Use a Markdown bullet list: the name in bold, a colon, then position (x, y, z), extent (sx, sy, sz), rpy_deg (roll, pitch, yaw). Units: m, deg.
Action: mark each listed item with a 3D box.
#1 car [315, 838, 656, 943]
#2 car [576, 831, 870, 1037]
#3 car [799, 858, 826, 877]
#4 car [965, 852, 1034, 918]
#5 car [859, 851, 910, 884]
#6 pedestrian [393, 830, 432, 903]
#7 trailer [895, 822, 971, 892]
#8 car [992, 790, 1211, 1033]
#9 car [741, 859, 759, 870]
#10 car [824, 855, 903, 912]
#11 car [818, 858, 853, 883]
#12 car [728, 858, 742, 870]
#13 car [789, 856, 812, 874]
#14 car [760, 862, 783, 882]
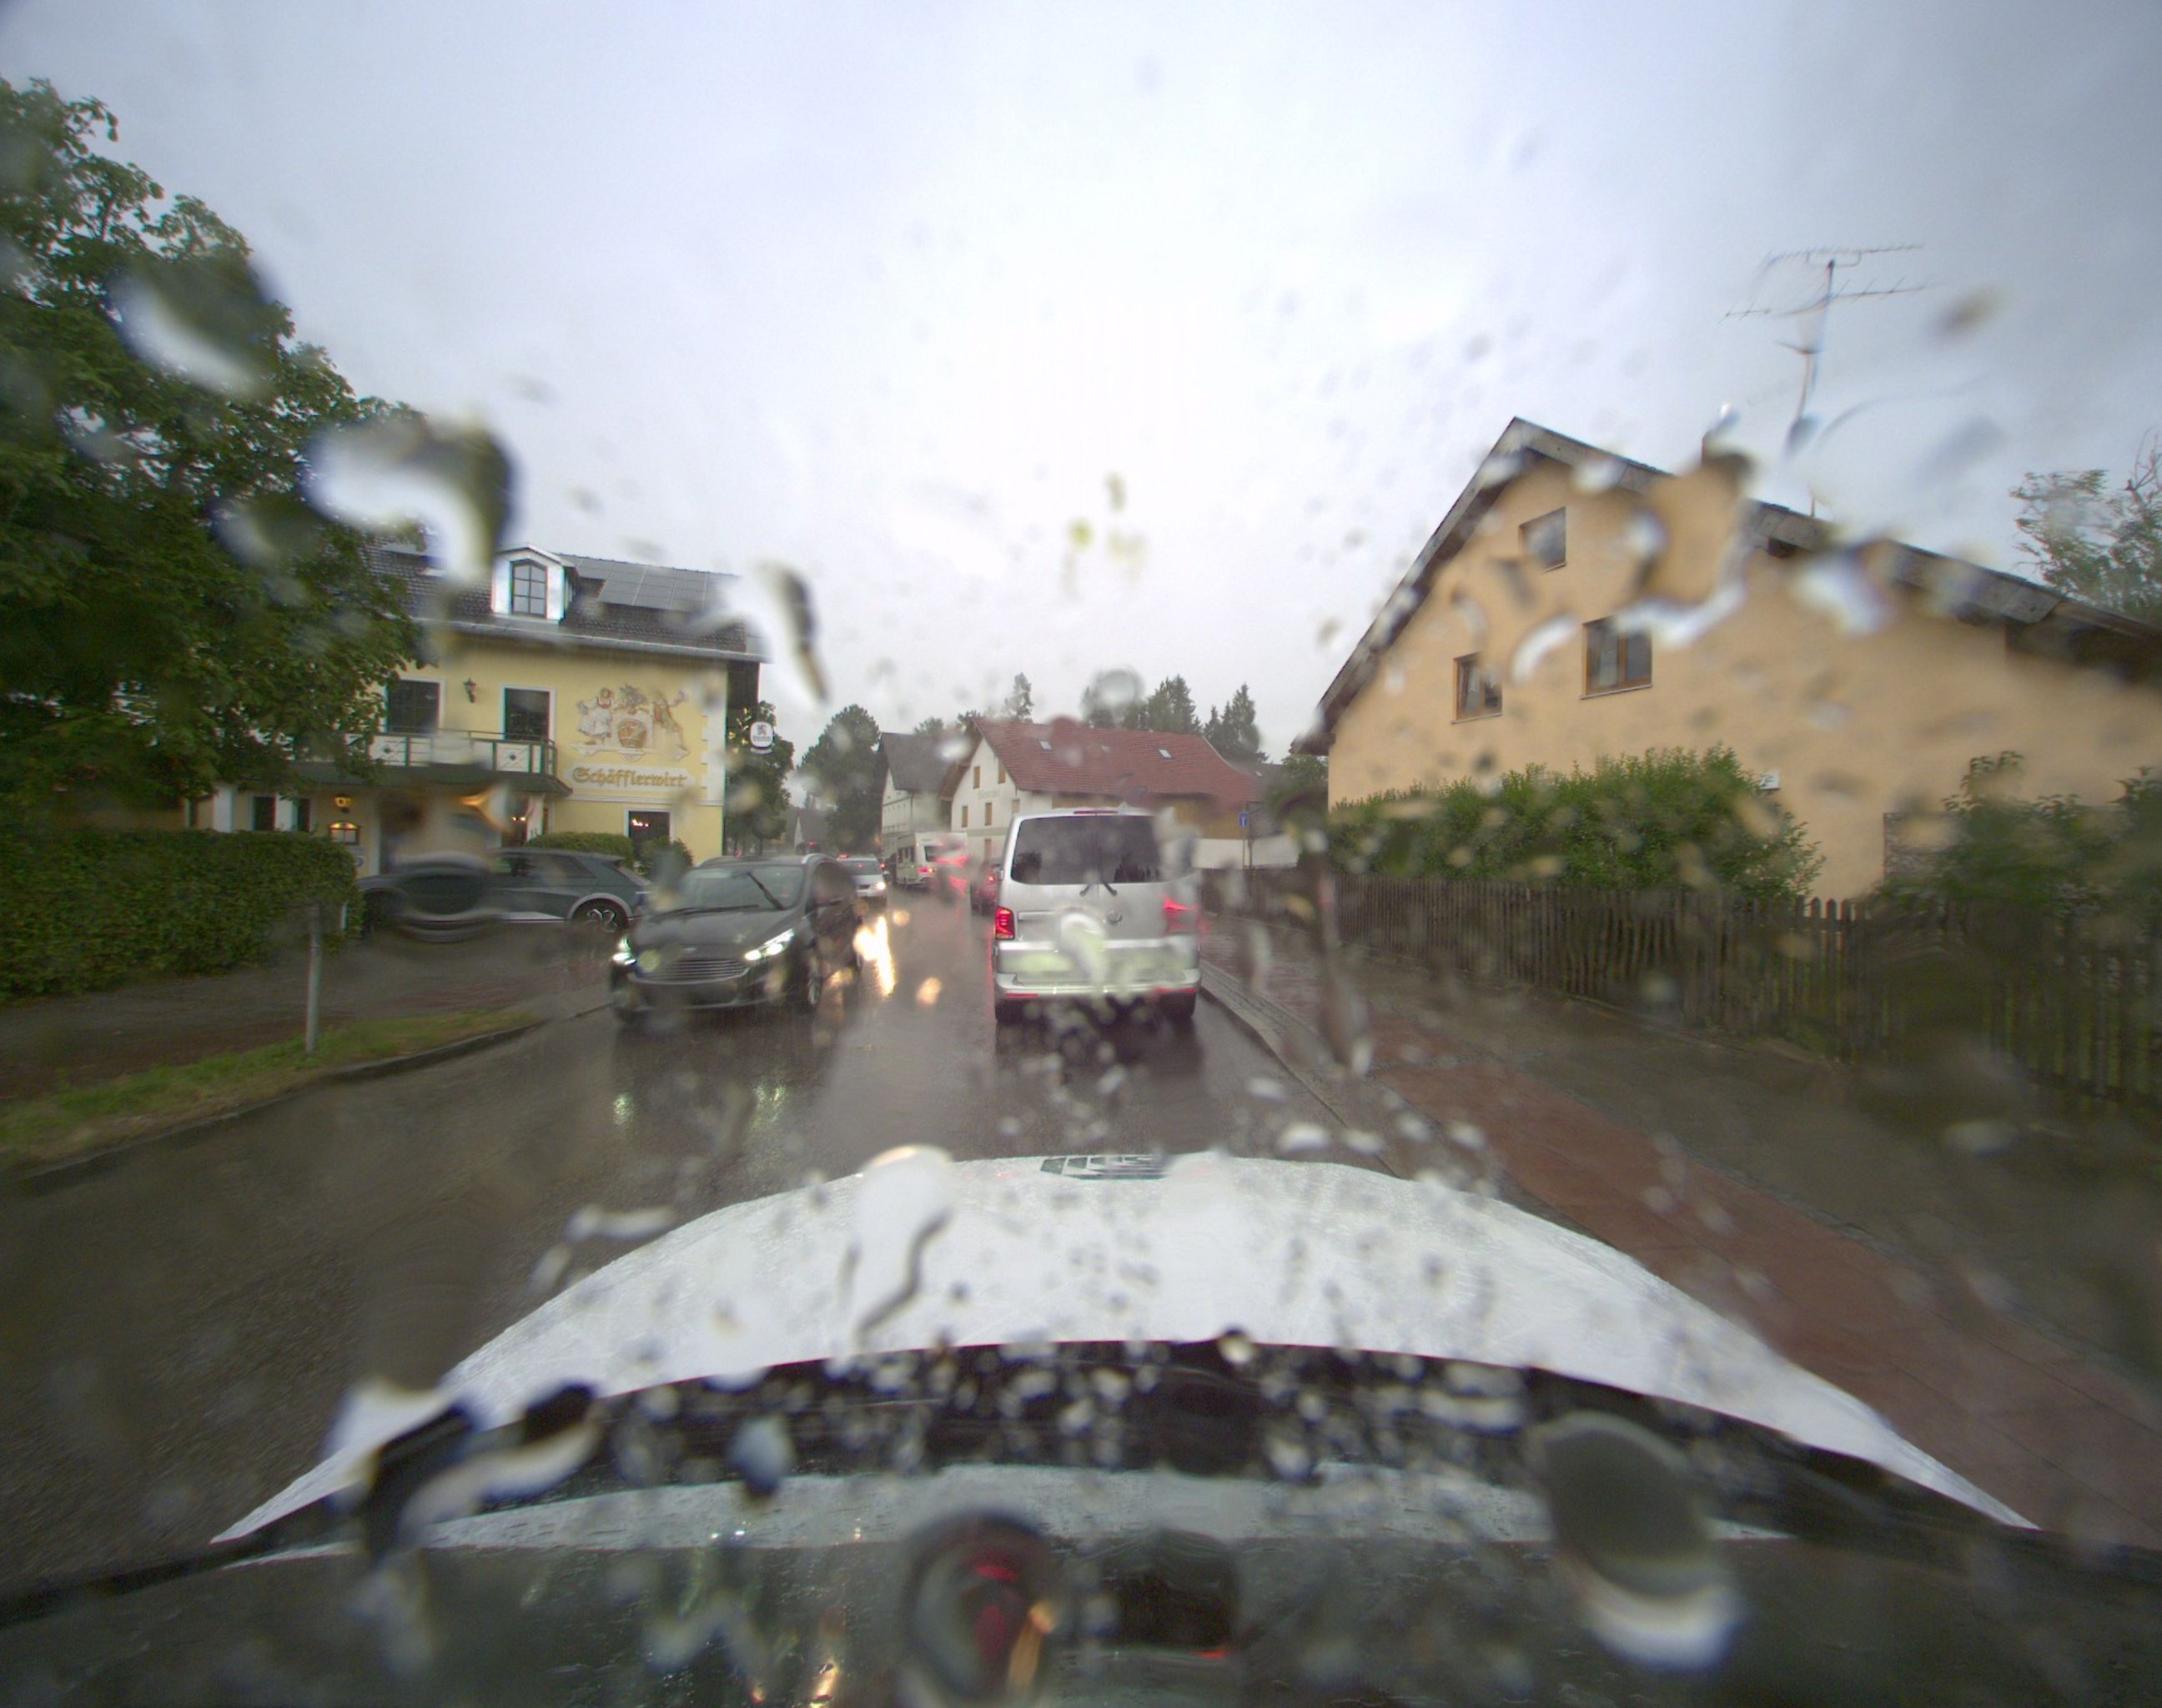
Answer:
- **car**: position (-10.116, 0.656, 14.352), extent (4.498, 1.567, 1.824), rpy_deg (4, 0, -26)
- **car**: position (-3.691, 0.699, 9.296), extent (1.921, 1.744, 4.181), rpy_deg (-2, 0, -7)
- **car**: position (-28.414, 1.412, 86.182), extent (2.179, 1.899, 4.974), rpy_deg (1, 0, -24)
- **car**: position (-2.372, 0.780, 22.999), extent (1.707, 1.584, 4.673), rpy_deg (-2, 1, -8)
- **car**: position (-12.216, 0.825, 50.385), extent (2.179, 1.899, 4.974), rpy_deg (1, -1, -24)
- **pedestrian**: position (-16.026, 0.299, 19.538), extent (0.492, 1.690, 0.550), rpy_deg (3, -1, -21)
- **trailer**: position (-6.812, 0.137, 36.876), extent (2.279, 2.904, 6.088), rpy_deg (-1, 0, -21)
- **car**: position (0.143, 0.486, 9.243), extent (1.771, 1.963, 5.072), rpy_deg (-1, 0, -1)
- **car**: position (-43.691, 1.413, 107.428), extent (1.871, 1.359, 4.446), rpy_deg (-2, 1, -25)
- **car**: position (-7.142, 0.925, 26.476), extent (1.762, 1.677, 3.967), rpy_deg (-1, -1, -25)
- **car**: position (-20.478, 1.353, 67.886), extent (2.179, 1.899, 4.974), rpy_deg (1, 0, -24)
- **car**: position (-52.523, 1.525, 123.672), extent (1.870, 1.758, 4.449), rpy_deg (-3, 1, -23)
- **car**: position (-33.021, 1.283, 95.810), extent (2.179, 1.899, 4.974), rpy_deg (1, 0, -24)
- **car**: position (-32.363, 1.898, 85.181), extent (1.860, 1.971, 4.662), rpy_deg (-1, -1, -25)
